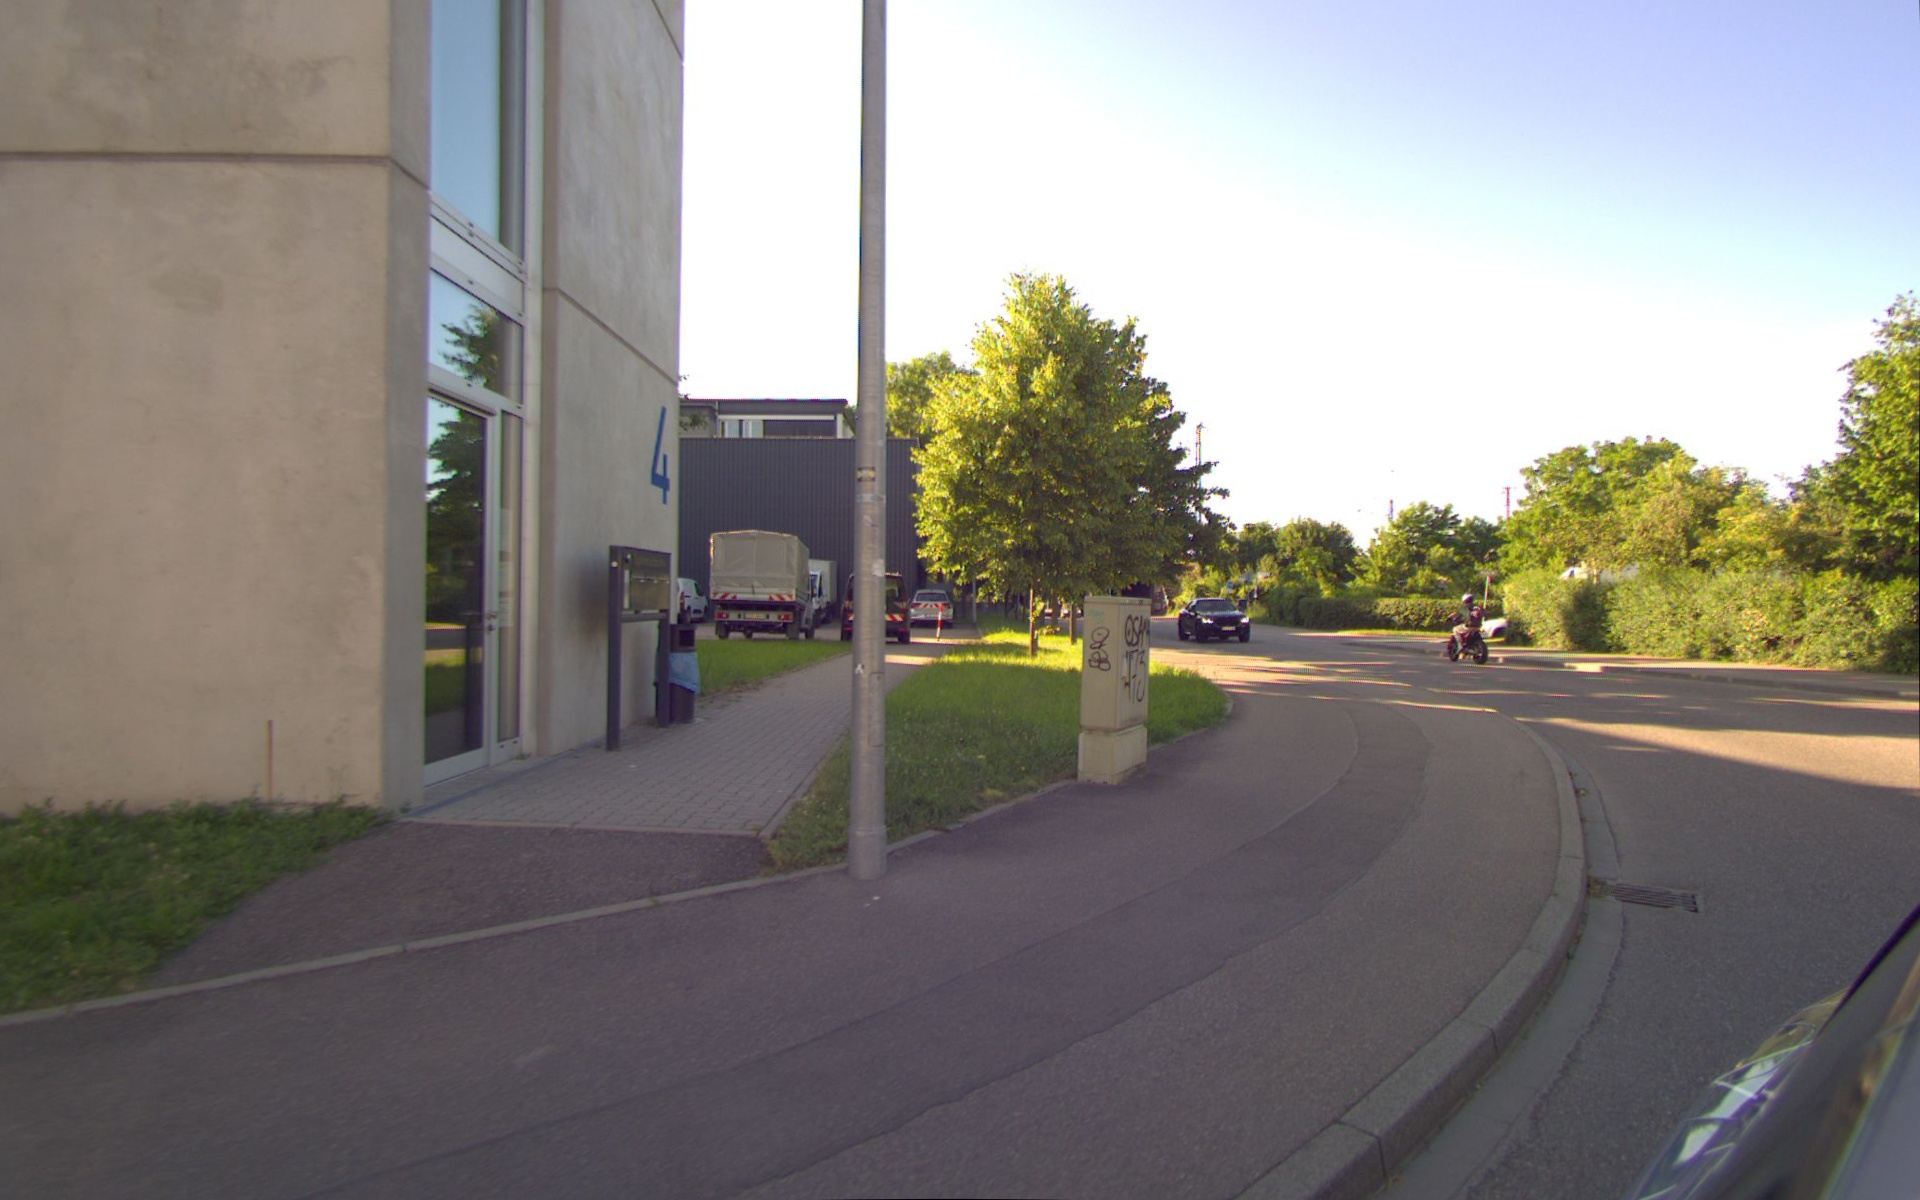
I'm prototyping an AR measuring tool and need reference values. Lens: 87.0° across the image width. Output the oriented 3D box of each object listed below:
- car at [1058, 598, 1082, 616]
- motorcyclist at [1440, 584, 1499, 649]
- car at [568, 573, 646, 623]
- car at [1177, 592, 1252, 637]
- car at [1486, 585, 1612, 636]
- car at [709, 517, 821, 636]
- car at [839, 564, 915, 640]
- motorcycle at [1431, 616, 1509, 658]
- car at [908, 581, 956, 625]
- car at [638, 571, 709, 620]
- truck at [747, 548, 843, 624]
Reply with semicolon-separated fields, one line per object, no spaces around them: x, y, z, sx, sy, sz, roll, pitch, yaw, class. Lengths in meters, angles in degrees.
10.497;0.665;96.949;2.001;1.653;4.609;-1;0;4;car
13.028;0.405;25.911;0.850;1.632;1.242;0;0;0;motorcyclist
-13.685;-0.118;39.453;1.744;1.747;3.772;1;3;0;car
9.962;0.544;39.973;2.001;1.653;4.609;-1;0;4;car
22.081;0.375;37.997;3.969;1.805;1.977;-1;0;32;car
-4.991;-0.483;26.643;2.193;2.808;5.139;0;-2;-3;car
-2.242;0.048;27.207;1.863;1.881;4.244;1;0;-5;car
13.032;0.930;25.932;0.820;0.984;2.300;0;0;0;motorcycle
-1.139;0.072;39.388;1.743;1.503;3.656;1;3;-3;car
-11.154;-0.222;39.658;1.744;1.747;3.772;1;3;0;car
-6.368;-0.510;39.915;2.530;2.726;6.414;-1;0;2;truck
